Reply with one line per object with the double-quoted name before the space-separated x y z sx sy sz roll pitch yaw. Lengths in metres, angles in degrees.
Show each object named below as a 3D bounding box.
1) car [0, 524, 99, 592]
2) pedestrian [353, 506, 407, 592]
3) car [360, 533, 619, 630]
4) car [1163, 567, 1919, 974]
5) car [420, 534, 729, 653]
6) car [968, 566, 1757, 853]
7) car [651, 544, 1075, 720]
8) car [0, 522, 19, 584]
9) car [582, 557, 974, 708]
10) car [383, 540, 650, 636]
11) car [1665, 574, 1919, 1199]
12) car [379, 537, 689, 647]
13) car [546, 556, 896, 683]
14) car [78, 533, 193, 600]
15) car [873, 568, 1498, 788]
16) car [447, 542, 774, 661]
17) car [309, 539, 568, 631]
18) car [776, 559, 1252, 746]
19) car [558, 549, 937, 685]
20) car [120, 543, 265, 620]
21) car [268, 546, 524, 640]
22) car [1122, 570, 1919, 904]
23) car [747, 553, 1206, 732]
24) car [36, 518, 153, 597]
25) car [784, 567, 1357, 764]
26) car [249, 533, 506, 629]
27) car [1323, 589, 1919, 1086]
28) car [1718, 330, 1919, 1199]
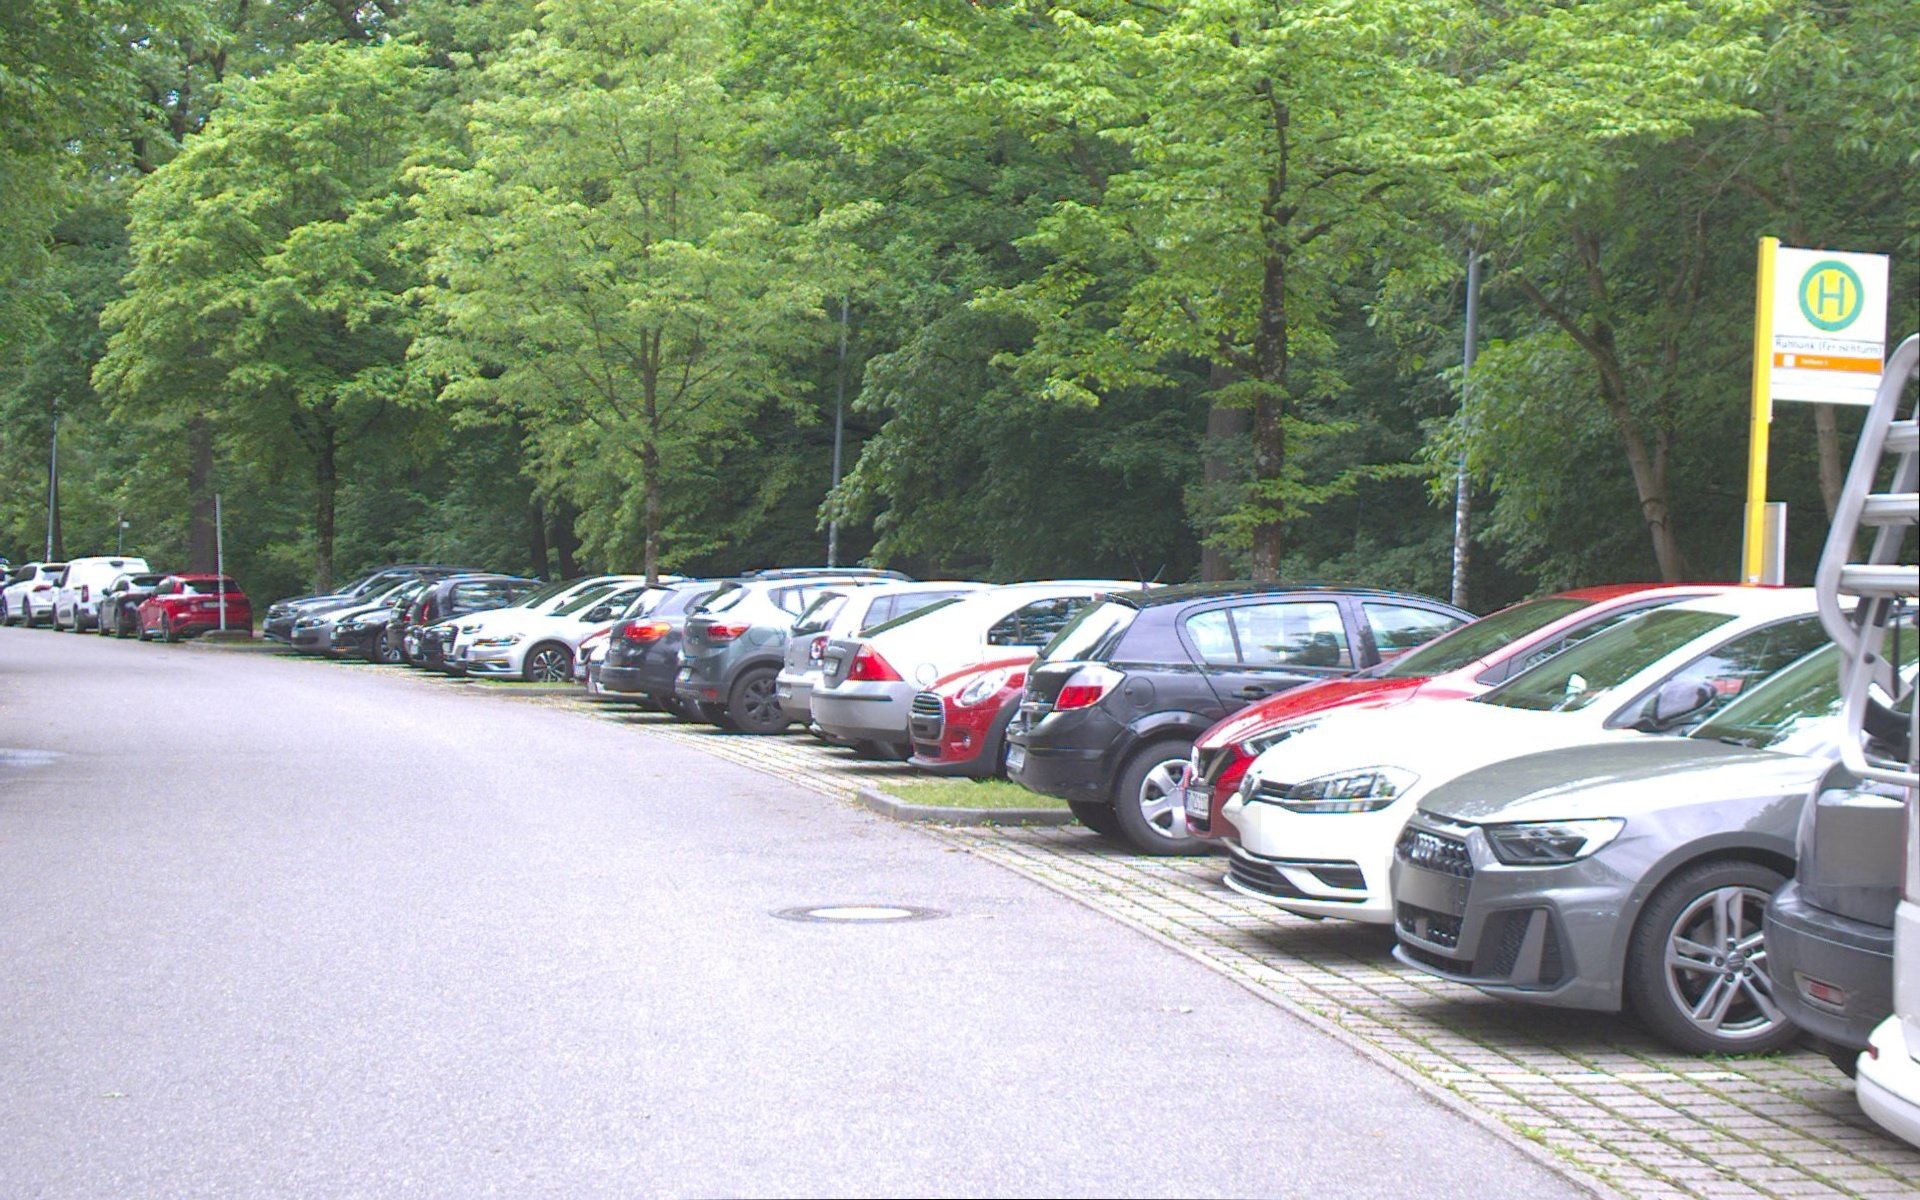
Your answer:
"car" -23.359 -1.086 87.405 1.785 1.657 4.718 1 1 -27
"pedestrian" -11.778 -1.041 69.810 0.817 1.720 1.004 1 1 -24
"car" -7.620 -0.310 55.642 3.826 1.526 1.851 0 1 -21
"car" 3.359 0.665 14.078 4.771 1.470 1.853 1 2 -6
"car" -5.459 -0.103 48.529 4.007 1.553 1.978 1 2 -17
"car" 2.177 0.586 19.221 3.986 1.478 1.923 1 1 -9
"car" -0.979 0.304 33.591 3.767 1.584 1.950 1 2 -14
"car" -28.259 -1.377 97.903 1.889 1.741 4.949 1 1 -26
"car" -1.937 0.338 36.319 3.767 1.476 1.774 1 2 -19
"car" -6.914 -0.193 53.517 3.826 1.452 1.809 0 1 -20
"car" 4.088 0.840 9.456 3.721 1.549 1.847 3 3 -8
"car" -6.316 -0.115 50.915 4.186 1.506 1.894 1 2 -21
"car" -2.900 0.240 41.688 3.793 1.436 1.871 1 2 -25
"car" -18.480 -0.766 76.954 1.725 1.418 4.285 1 1 -24
"car" 1.544 0.529 24.248 3.986 1.445 1.942 1 1 -13
"car" -4.693 0.020 46.110 3.975 1.478 1.884 1 2 -21
"car" -8.825 -0.257 58.103 3.986 1.470 1.953 1 1 -20
"car" 0.430 0.433 29.179 3.700 1.505 1.752 1 0 -13
"car" -2.424 0.185 38.906 3.931 1.406 1.879 1 2 -17
"car" -16.077 -0.410 71.859 1.993 1.474 4.973 1 1 -24
"car" -9.897 -0.125 60.314 3.986 1.546 1.976 1 1 -27
"car" 3.075 0.641 16.766 4.227 1.475 1.920 1 1 -9
"car" 0.126 0.384 31.388 3.841 1.540 1.731 1 1 -15
"car" -20.632 -1.027 81.822 1.744 1.774 4.553 1 1 -26
"car" 0.820 0.495 26.826 4.125 1.456 1.866 1 1 -11
"car" -10.626 -0.349 62.697 4.264 1.660 1.959 1 1 -22
"car" 3.440 0.796 11.708 3.986 1.478 1.878 3 0 -8
"car" 4.131 0.612 6.732 4.647 2.014 2.084 3 2 -6
